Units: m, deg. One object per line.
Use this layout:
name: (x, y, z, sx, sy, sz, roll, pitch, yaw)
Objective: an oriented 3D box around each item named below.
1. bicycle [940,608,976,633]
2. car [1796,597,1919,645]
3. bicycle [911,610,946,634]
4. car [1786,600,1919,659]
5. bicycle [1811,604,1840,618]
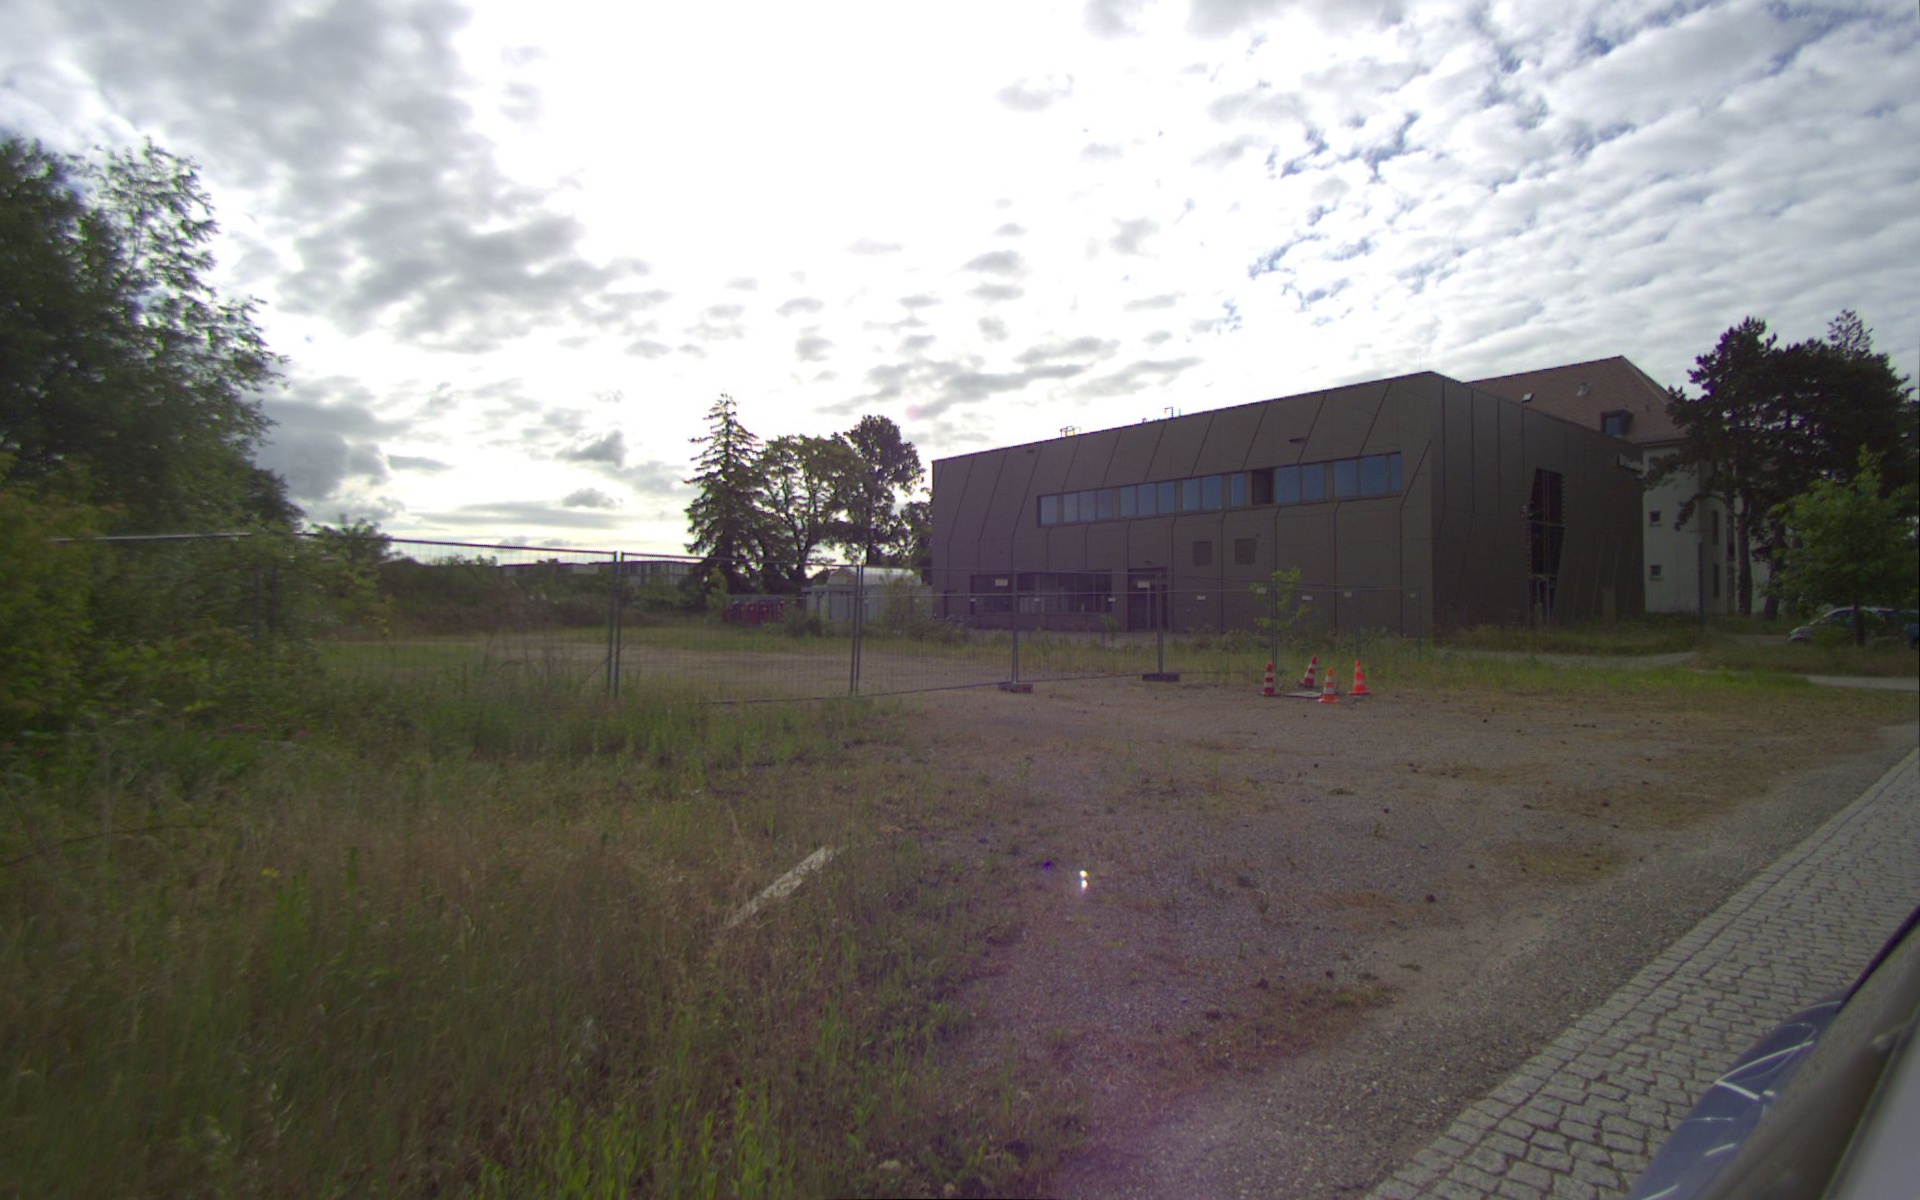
bicycle: (-0.083, 0.925, 46.083, 1.624, 1.099, 0.512, 0, -1, -32)
car: (31.229, 0.704, 34.125, 1.800, 1.494, 4.495, 0, 1, -43)
bicycle: (-1.479, 1.023, 47.874, 1.624, 1.099, 0.512, 0, -1, -32)
car: (25.889, 0.806, 29.373, 1.624, 1.576, 2.716, 0, 1, -39)
bicycle: (67.854, 0.878, 79.376, 0.604, 1.099, 1.652, 1, -1, -44)
